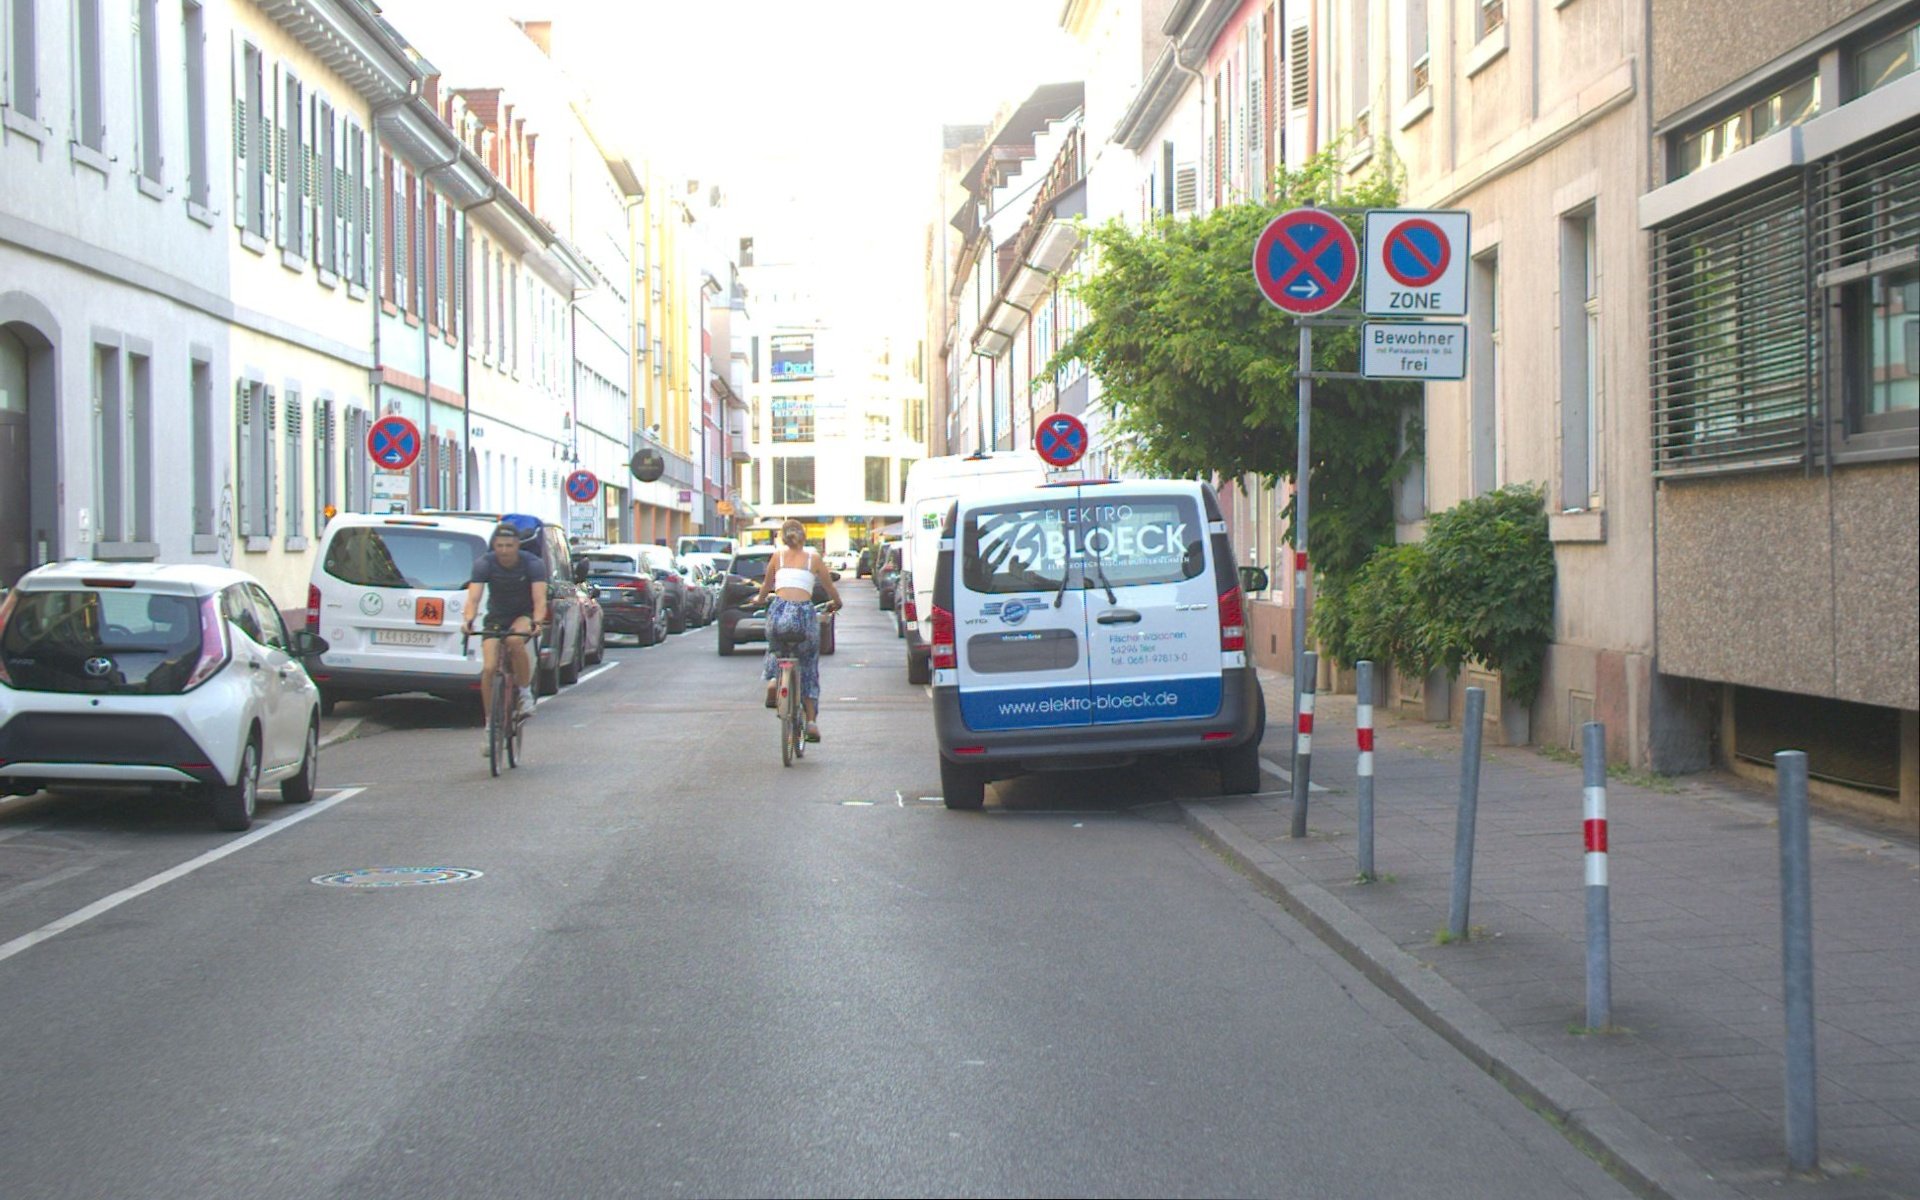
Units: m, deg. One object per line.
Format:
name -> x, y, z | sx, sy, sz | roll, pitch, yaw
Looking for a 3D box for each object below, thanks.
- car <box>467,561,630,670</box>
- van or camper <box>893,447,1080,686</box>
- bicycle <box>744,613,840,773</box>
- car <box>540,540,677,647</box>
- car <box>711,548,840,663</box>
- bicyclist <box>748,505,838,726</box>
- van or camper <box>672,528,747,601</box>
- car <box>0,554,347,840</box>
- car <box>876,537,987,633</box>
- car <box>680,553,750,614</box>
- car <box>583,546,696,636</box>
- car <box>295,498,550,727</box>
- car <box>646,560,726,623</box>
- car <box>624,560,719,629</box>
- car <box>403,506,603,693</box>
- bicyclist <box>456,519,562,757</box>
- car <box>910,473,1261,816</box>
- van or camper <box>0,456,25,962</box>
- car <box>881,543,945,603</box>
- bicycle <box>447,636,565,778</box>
car -> -5.507, 0.176, 46.440 | 1.765, 1.397, 4.263 | 0, 1, -1
van or camper -> 0.260, -0.427, 41.796 | 2.050, 2.628, 7.063 | -1, 1, -1
bicycle -> -1.195, 0.646, 24.683 | 0.613, 1.078, 1.809 | 0, 1, -1
car -> -5.768, -0.133, 56.889 | 1.803, 1.671, 4.490 | -1, 1, 0
car -> -2.706, 0.050, 51.147 | 1.819, 1.612, 4.000 | 1, 1, -2
bicyclist -> -1.194, 0.107, 24.713 | 0.621, 1.569, 0.683 | 0, 0, 0
van or camper -> -7.051, -1.007, 97.019 | 1.844, 2.006, 4.678 | 1, 1, -1
car -> -4.704, 0.498, 20.058 | 1.662, 1.444, 3.521 | 3, 1, -2
car -> -0.489, -0.285, 61.899 | 1.819, 1.525, 5.071 | -4, 1, 0
car -> -6.473, -0.454, 91.187 | 1.653, 1.555, 3.606 | 1, 1, -1
car -> -6.296, -0.201, 67.968 | 1.997, 1.701, 4.536 | 1, 1, -3
car -> -5.059, 0.074, 32.963 | 1.862, 2.007, 5.107 | -1, 1, -3
car -> -6.447, -0.221, 81.117 | 1.653, 1.406, 3.903 | 1, 1, -1
car -> -6.228, -0.142, 74.688 | 1.918, 1.429, 4.294 | 1, 1, -3
car -> -5.187, -0.043, 39.530 | 1.862, 2.007, 4.814 | -1, 1, -3
bicyclist -> -3.164, 0.253, 24.171 | 0.623, 1.634, 1.081 | 0, 0, -1
car -> 0.762, 0.210, 21.851 | 1.936, 1.891, 5.276 | -1, 1, 1
van or camper -> -4.372, 0.432, 10.749 | 1.772, 1.842, 4.178 | -1, 1, -1
car -> -1.265, -0.732, 91.582 | 1.653, 1.555, 3.606 | 1, 1, -1
bicycle -> -3.170, 0.733, 24.127 | 0.634, 0.919, 1.779 | 0, 1, -1
